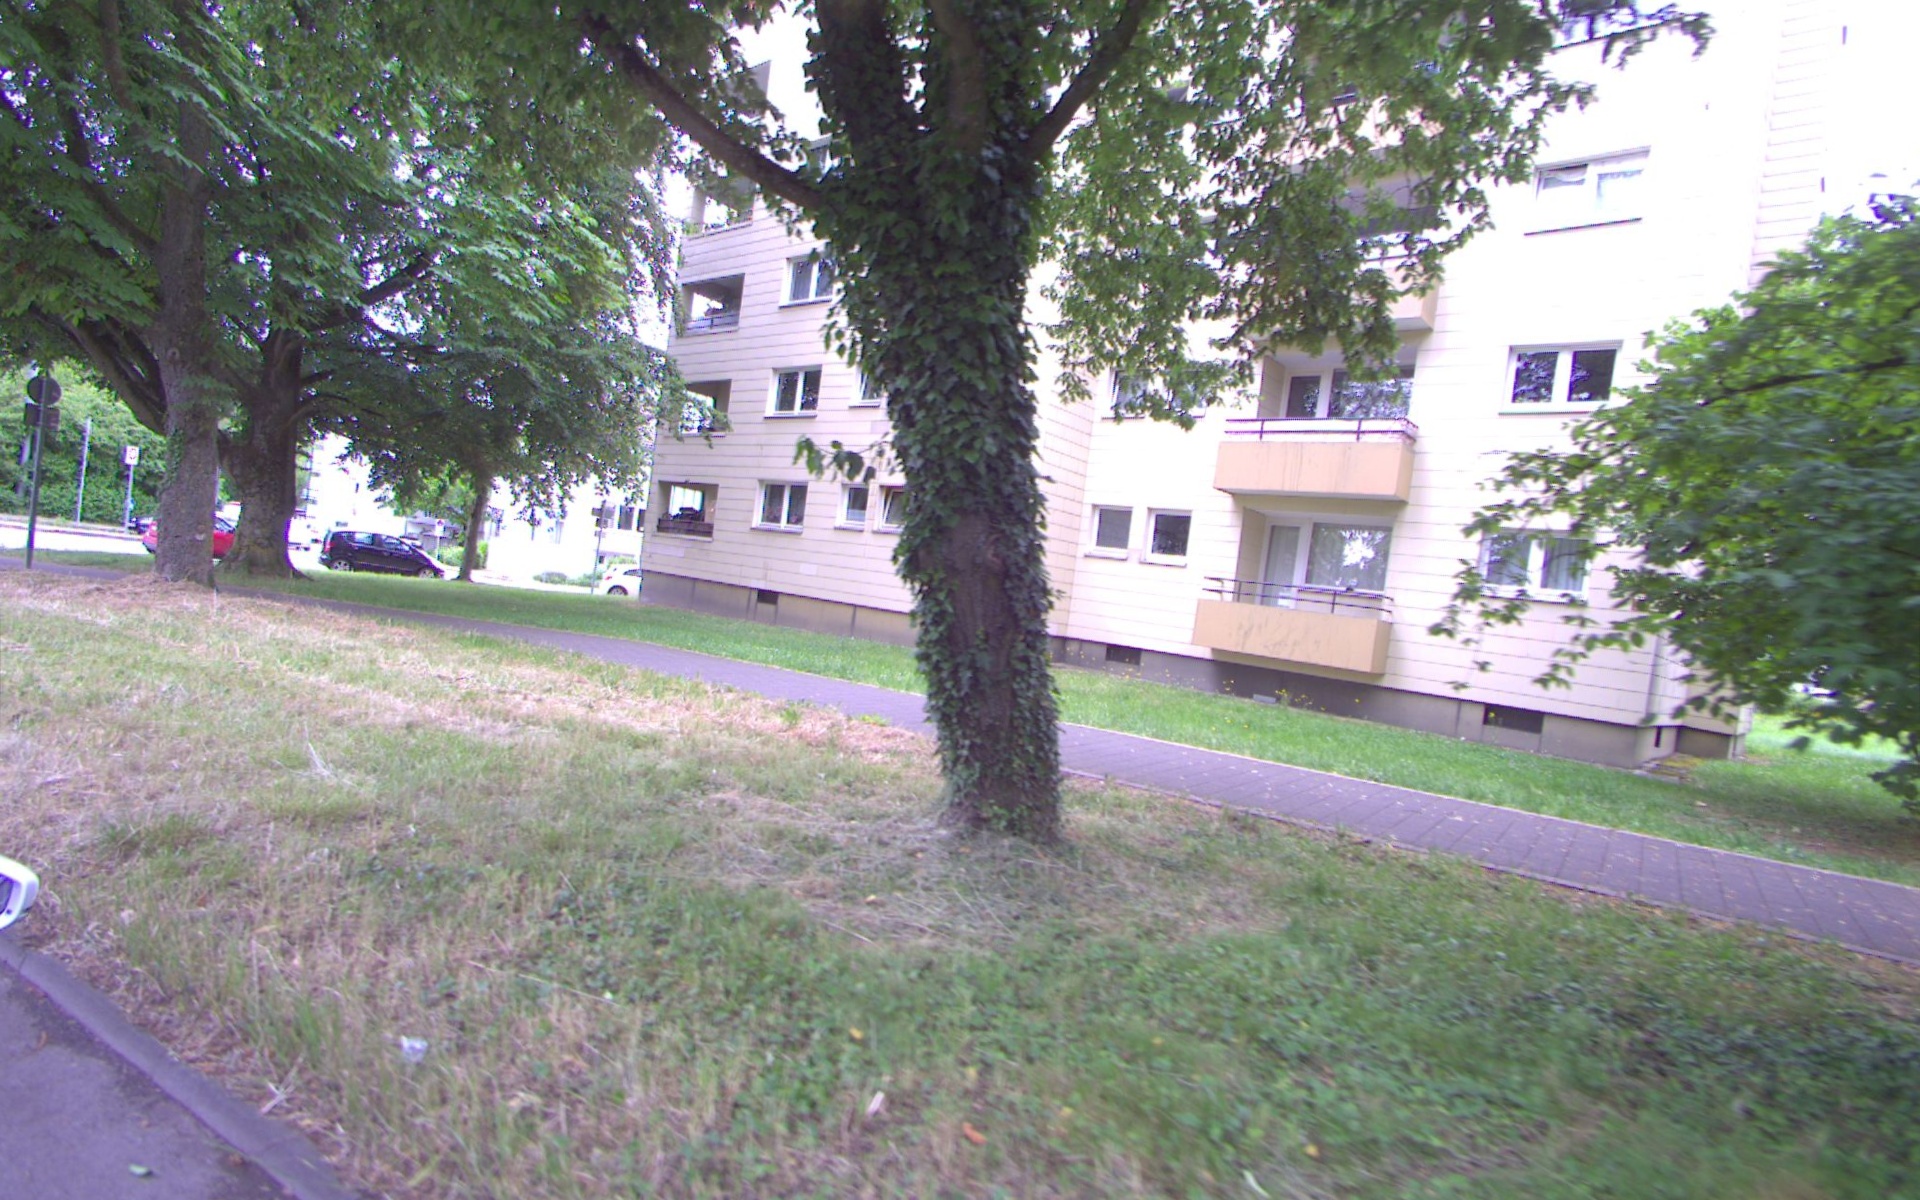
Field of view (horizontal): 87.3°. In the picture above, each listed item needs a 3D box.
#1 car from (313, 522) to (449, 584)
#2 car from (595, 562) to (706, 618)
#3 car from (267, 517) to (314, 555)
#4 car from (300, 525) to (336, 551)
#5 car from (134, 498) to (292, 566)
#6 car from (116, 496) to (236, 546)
[{"bbox_3d":[-19.744,-1.597,34.342,3.816,1.631,1.712,6,1,-34],"label":"car"},{"bbox_3d":[-11.649,-0.391,37.952,3.797,1.631,1.720,6,1,-19],"label":"car"},{"bbox_3d":[-34.028,-3.285,51.217,1.709,1.631,3.821,5,1,-31],"label":"car"},{"bbox_3d":[-47.642,-4.611,74.624,1.714,1.631,3.811,5,2,-39],"label":"car"},{"bbox_3d":[-23.141,-2.082,31.274,1.701,1.631,3.517,7,1,35],"label":"car"},{"bbox_3d":[-32.299,-3.225,41.510,1.701,1.550,3.516,7,1,36],"label":"car"}]
